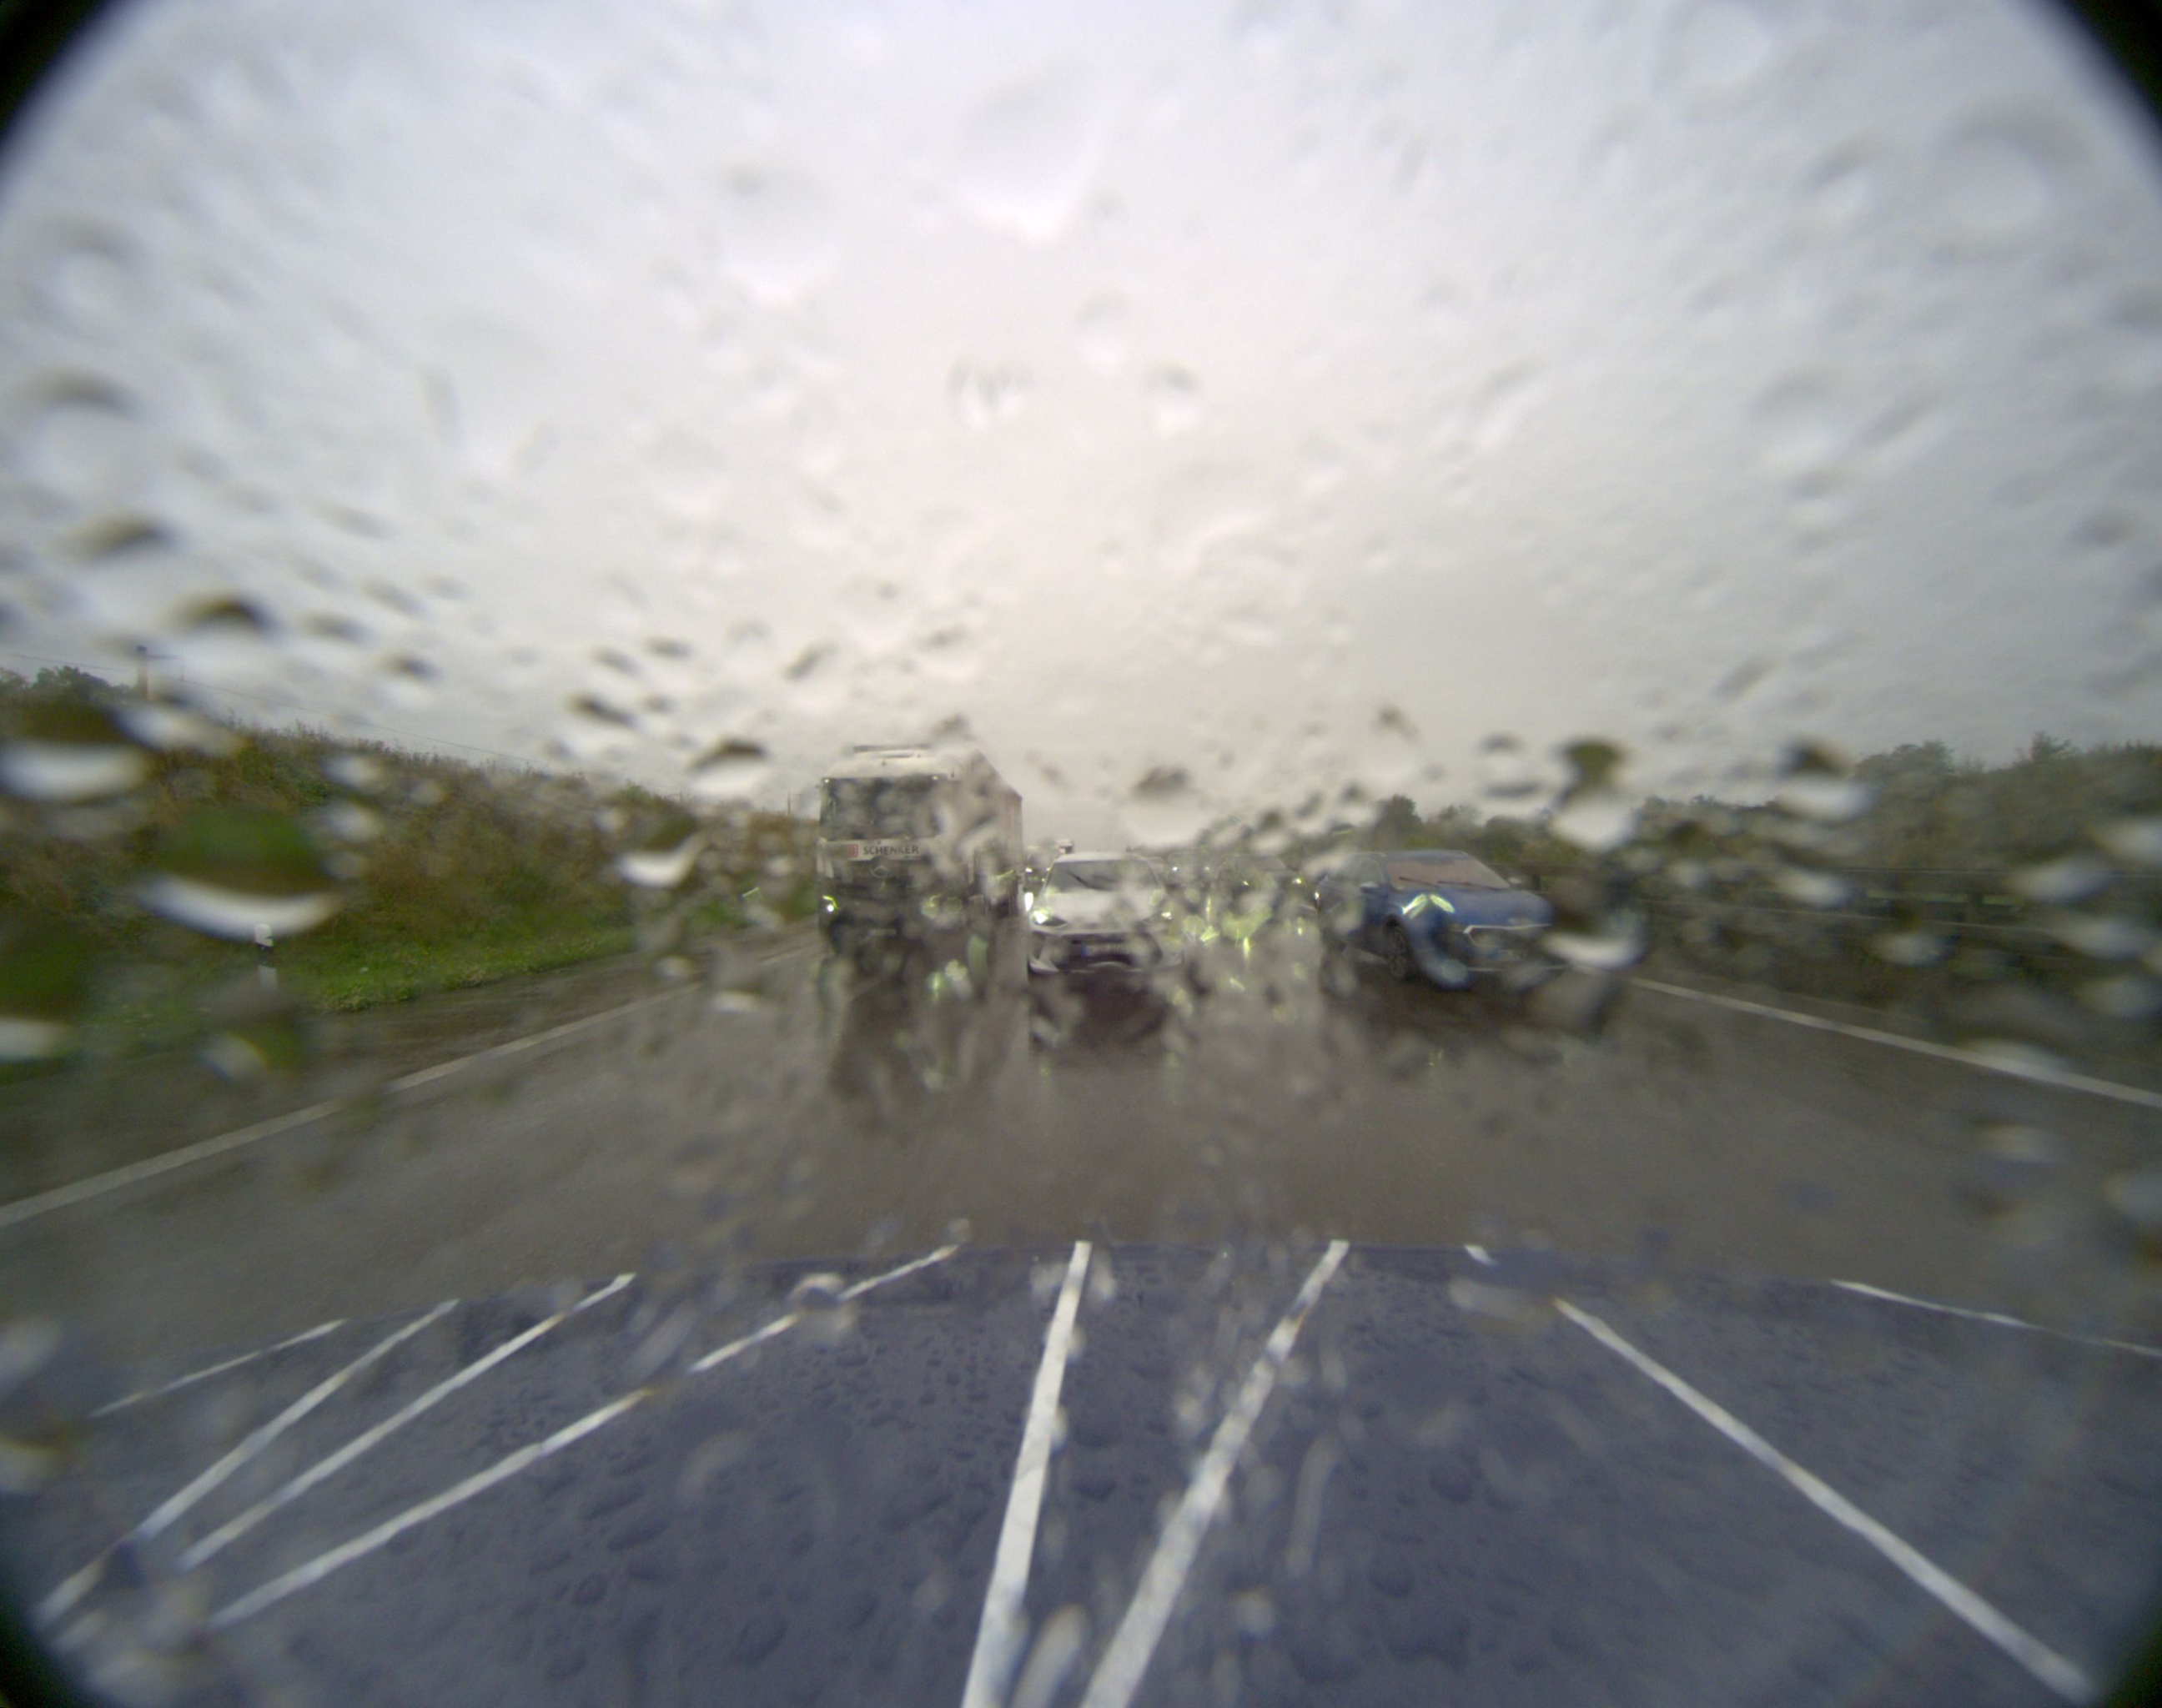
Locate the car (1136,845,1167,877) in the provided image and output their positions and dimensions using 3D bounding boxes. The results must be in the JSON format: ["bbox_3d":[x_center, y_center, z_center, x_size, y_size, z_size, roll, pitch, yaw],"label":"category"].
[{"bbox_3d":[4.628,0.437,50.282,1.888,2.002,4.270,-2,0,4],"label":"car"}]

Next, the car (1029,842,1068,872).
[{"bbox_3d":[-2.297,0.193,54.989,2.260,2.002,4.269,-2,1,4],"label":"car"}]

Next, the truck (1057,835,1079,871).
[{"bbox_3d":[-1.752,-0.118,102.244,2.628,4.635,4.290,-2,0,1],"label":"truck"}]

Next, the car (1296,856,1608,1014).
[{"bbox_3d":[4.272,0.803,9.697,1.790,1.467,4.512,-2,0,1],"label":"car"}]

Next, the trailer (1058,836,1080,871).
[{"bbox_3d":[-1.662,-0.090,107.525,2.628,4.635,9.221,-2,0,1],"label":"trailer"}]

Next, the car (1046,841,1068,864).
[{"bbox_3d":[-2.463,-0.139,78.097,1.998,2.231,4.000,-2,0,1],"label":"car"}]

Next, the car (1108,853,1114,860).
[{"bbox_3d":[7.187,0.656,180.329,1.279,1.567,2.848,-2,0,0],"label":"car"}]

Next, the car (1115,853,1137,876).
[{"bbox_3d":[4.035,0.914,68.870,1.737,2.002,4.223,-2,0,1],"label":"car"}]

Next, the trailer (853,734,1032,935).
[{"bbox_3d":[-3.431,-0.499,23.439,2.633,4.224,14.174,-2,1,1],"label":"trailer"}]

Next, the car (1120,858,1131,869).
[{"bbox_3d":[6.239,1.337,106.716,1.458,1.540,2.804,0,2,1],"label":"car"}]

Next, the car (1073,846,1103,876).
[{"bbox_3d":[0.538,0.484,53.672,1.998,2.002,4.000,-2,0,2],"label":"car"}]

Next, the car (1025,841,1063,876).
[{"bbox_3d":[-2.307,0.244,48.405,1.946,2.002,4.446,-2,1,3],"label":"car"}]

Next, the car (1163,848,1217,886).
[{"bbox_3d":[5.021,0.564,35.483,1.889,1.622,4.269,-2,0,0],"label":"car"}]

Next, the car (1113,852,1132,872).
[{"bbox_3d":[4.282,0.794,79.337,1.737,2.002,4.223,-2,0,1],"label":"car"}]

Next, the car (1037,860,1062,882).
[{"bbox_3d":[-2.798,1.521,68.827,1.998,1.805,4.000,-2,0,1],"label":"car"}]

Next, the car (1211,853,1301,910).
[{"bbox_3d":[4.961,0.727,22.056,1.613,1.428,4.370,-2,0,1],"label":"car"}]

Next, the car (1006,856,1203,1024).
[{"bbox_3d":[0.253,0.851,9.476,1.893,1.578,4.000,-2,0,1],"label":"car"}]

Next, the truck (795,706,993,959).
[{"bbox_3d":[-3.485,-0.393,15.544,2.633,4.229,5.042,-2,1,0],"label":"truck"}]
